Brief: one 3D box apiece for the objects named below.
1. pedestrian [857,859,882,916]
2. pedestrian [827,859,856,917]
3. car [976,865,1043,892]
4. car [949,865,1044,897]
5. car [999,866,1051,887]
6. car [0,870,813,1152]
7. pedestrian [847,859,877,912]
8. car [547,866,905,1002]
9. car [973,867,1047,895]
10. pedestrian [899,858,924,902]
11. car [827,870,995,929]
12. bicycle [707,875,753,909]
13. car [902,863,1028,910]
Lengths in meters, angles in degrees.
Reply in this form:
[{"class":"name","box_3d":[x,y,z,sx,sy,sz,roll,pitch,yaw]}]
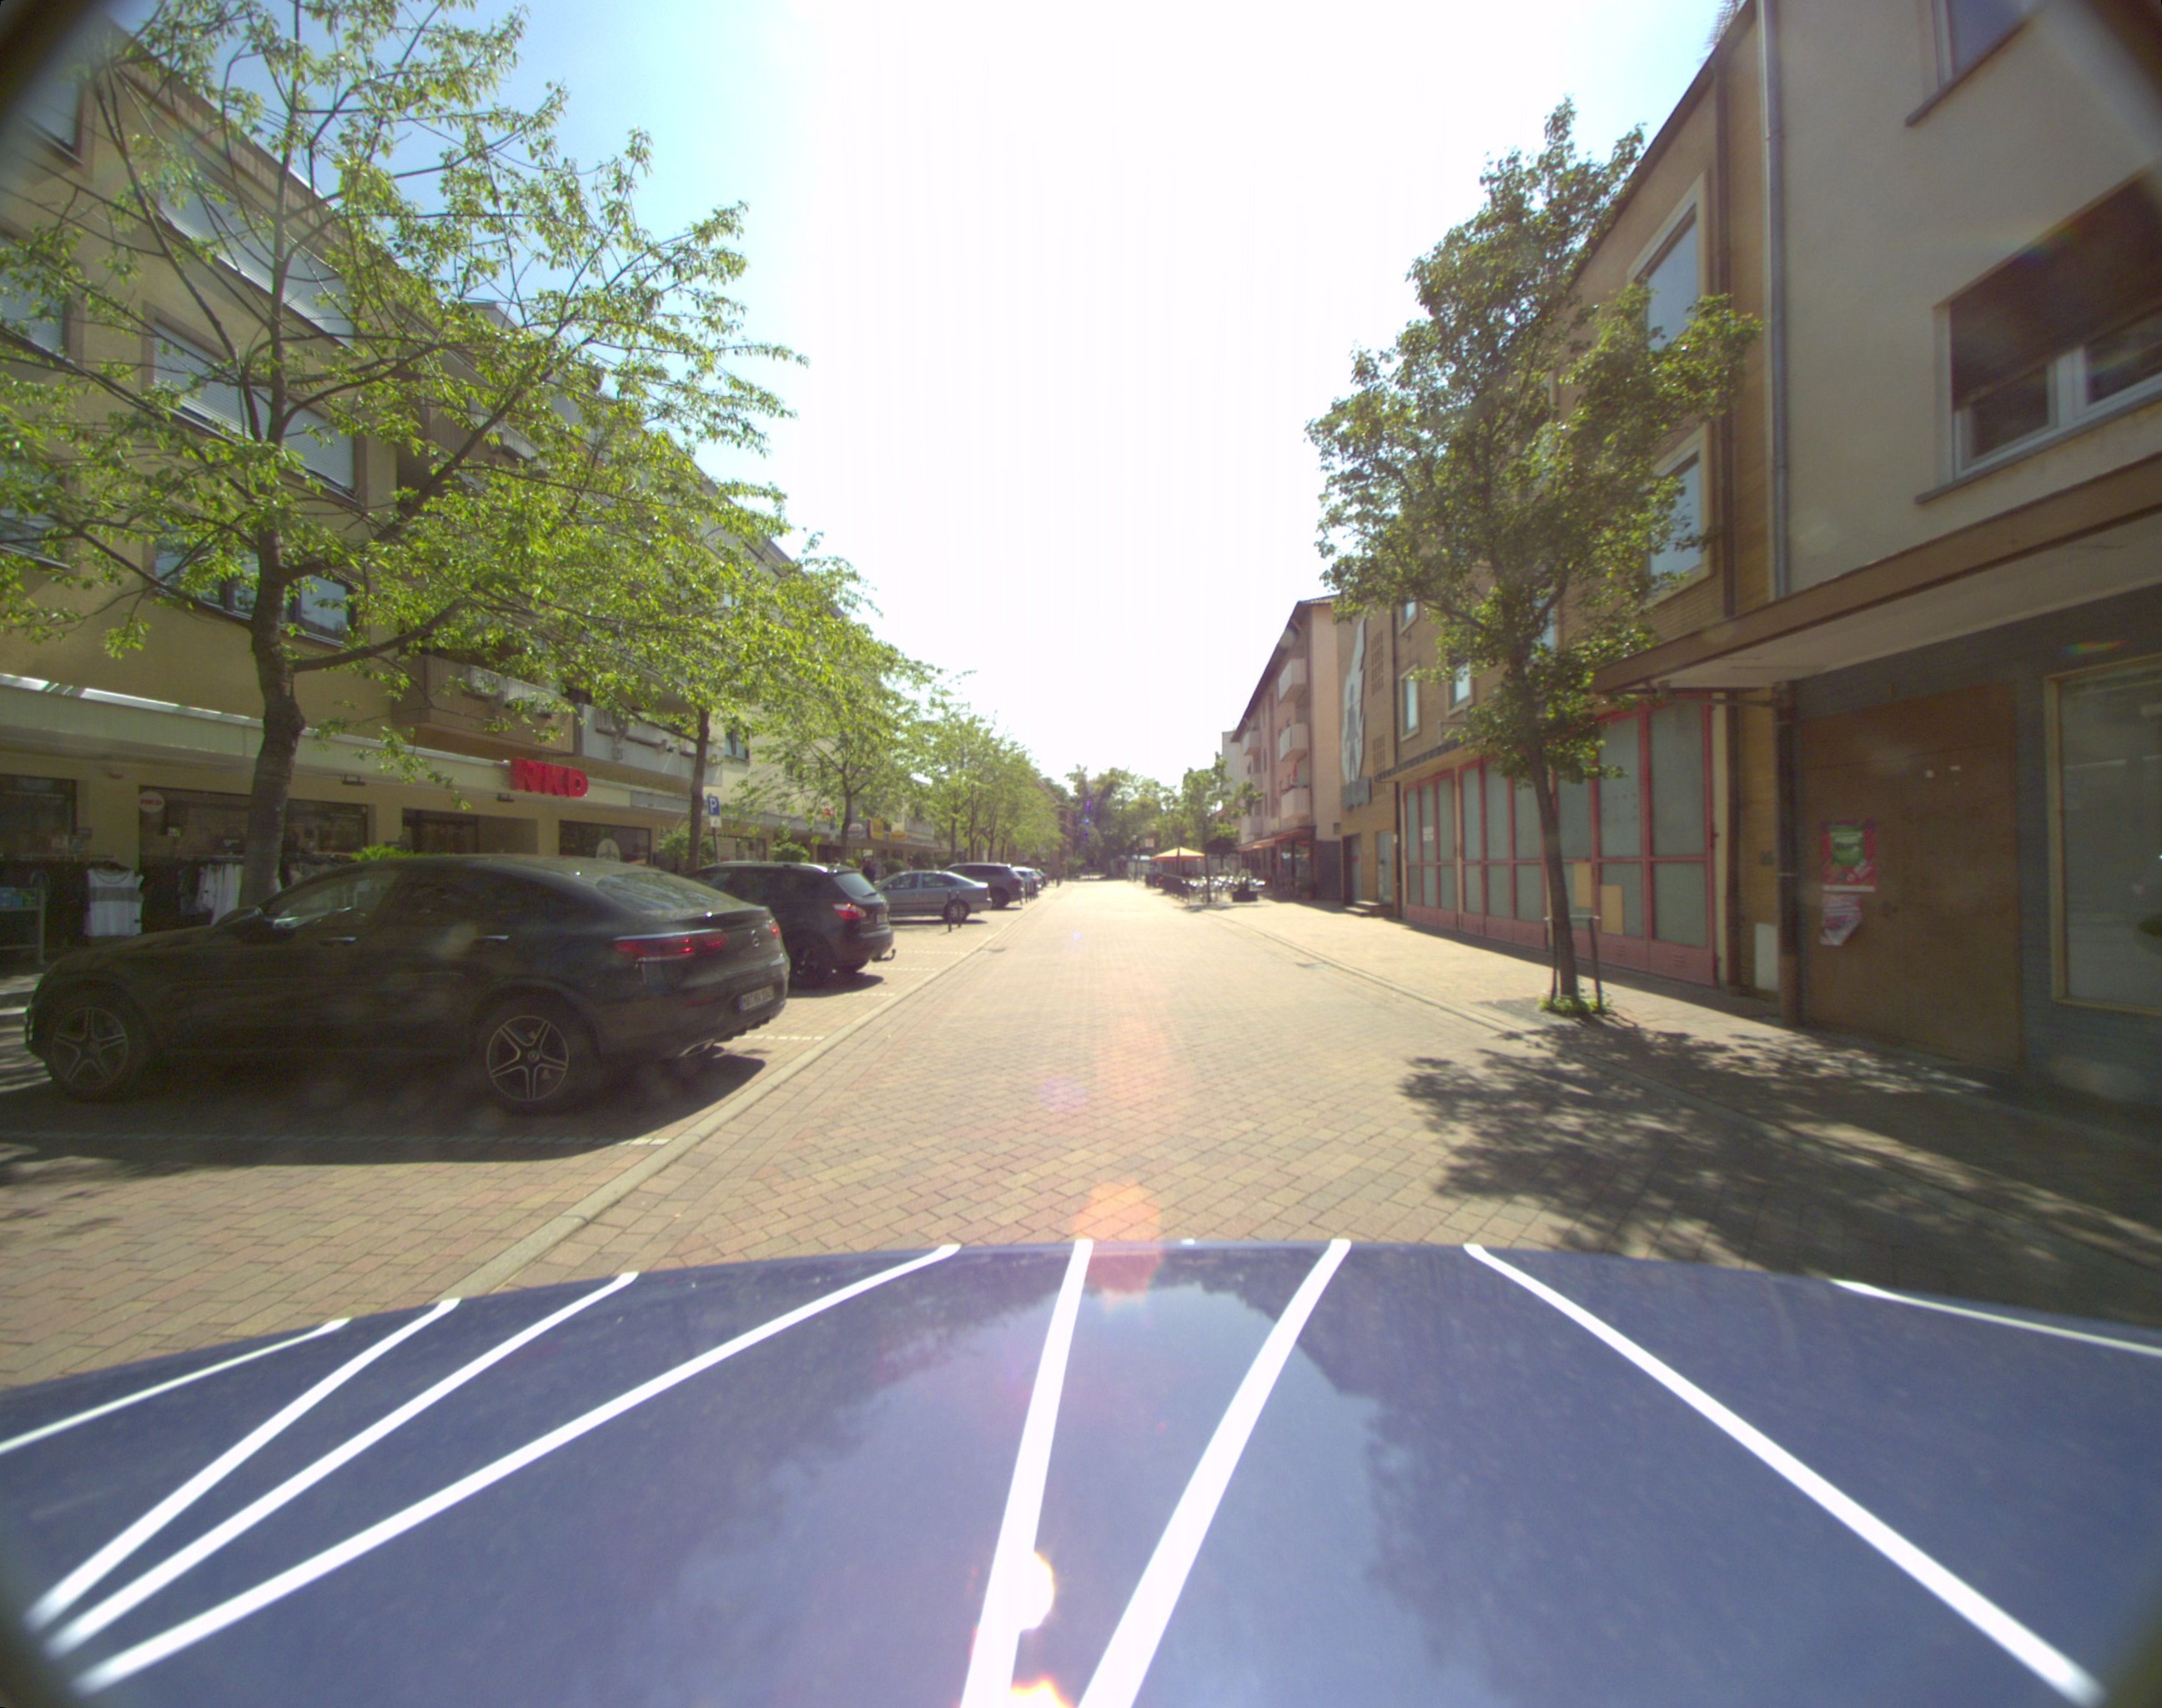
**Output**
[{"class":"pedestrian","box_3d":[-6.682,1.045,23.973,0.607,1.785,0.626,-1,0,-27]},{"class":"pedestrian","box_3d":[-7.434,1.046,23.534,0.633,1.762,0.685,-1,0,-37]},{"class":"car","box_3d":[-4.076,1.405,43.838,3.652,1.508,1.633,1,0,1]},{"class":"car","box_3d":[-4.280,1.361,38.731,4.585,1.534,1.807,1,0,1]},{"class":"car","box_3d":[-3.772,1.511,51.381,3.401,1.382,1.461,1,0,1]},{"class":"car","box_3d":[-4.525,0.931,5.445,4.518,1.579,1.851,1,-1,3]},{"class":"pedestrian","box_3d":[-7.225,1.031,25.044,0.614,1.720,0.649,-2,0,35]},{"class":"car","box_3d":[-4.626,1.004,10.294,4.036,1.602,1.681,1,0,2]},{"class":"car","box_3d":[-3.801,1.441,41.272,3.800,1.423,1.614,1,0,1]},{"class":"pedestrian","box_3d":[-7.015,1.075,31.462,0.759,1.770,0.871,0,0,8]},{"class":"car","box_3d":[-4.765,1.204,21.188,4.391,1.455,1.887,0,0,-19]},{"class":"bicycle","box_3d":[-12.022,1.284,26.064,0.643,1.075,1.866,-2,0,1]},{"class":"car","box_3d":[-4.099,1.141,27.347,4.254,1.608,1.757,1,-1,-1]}]
